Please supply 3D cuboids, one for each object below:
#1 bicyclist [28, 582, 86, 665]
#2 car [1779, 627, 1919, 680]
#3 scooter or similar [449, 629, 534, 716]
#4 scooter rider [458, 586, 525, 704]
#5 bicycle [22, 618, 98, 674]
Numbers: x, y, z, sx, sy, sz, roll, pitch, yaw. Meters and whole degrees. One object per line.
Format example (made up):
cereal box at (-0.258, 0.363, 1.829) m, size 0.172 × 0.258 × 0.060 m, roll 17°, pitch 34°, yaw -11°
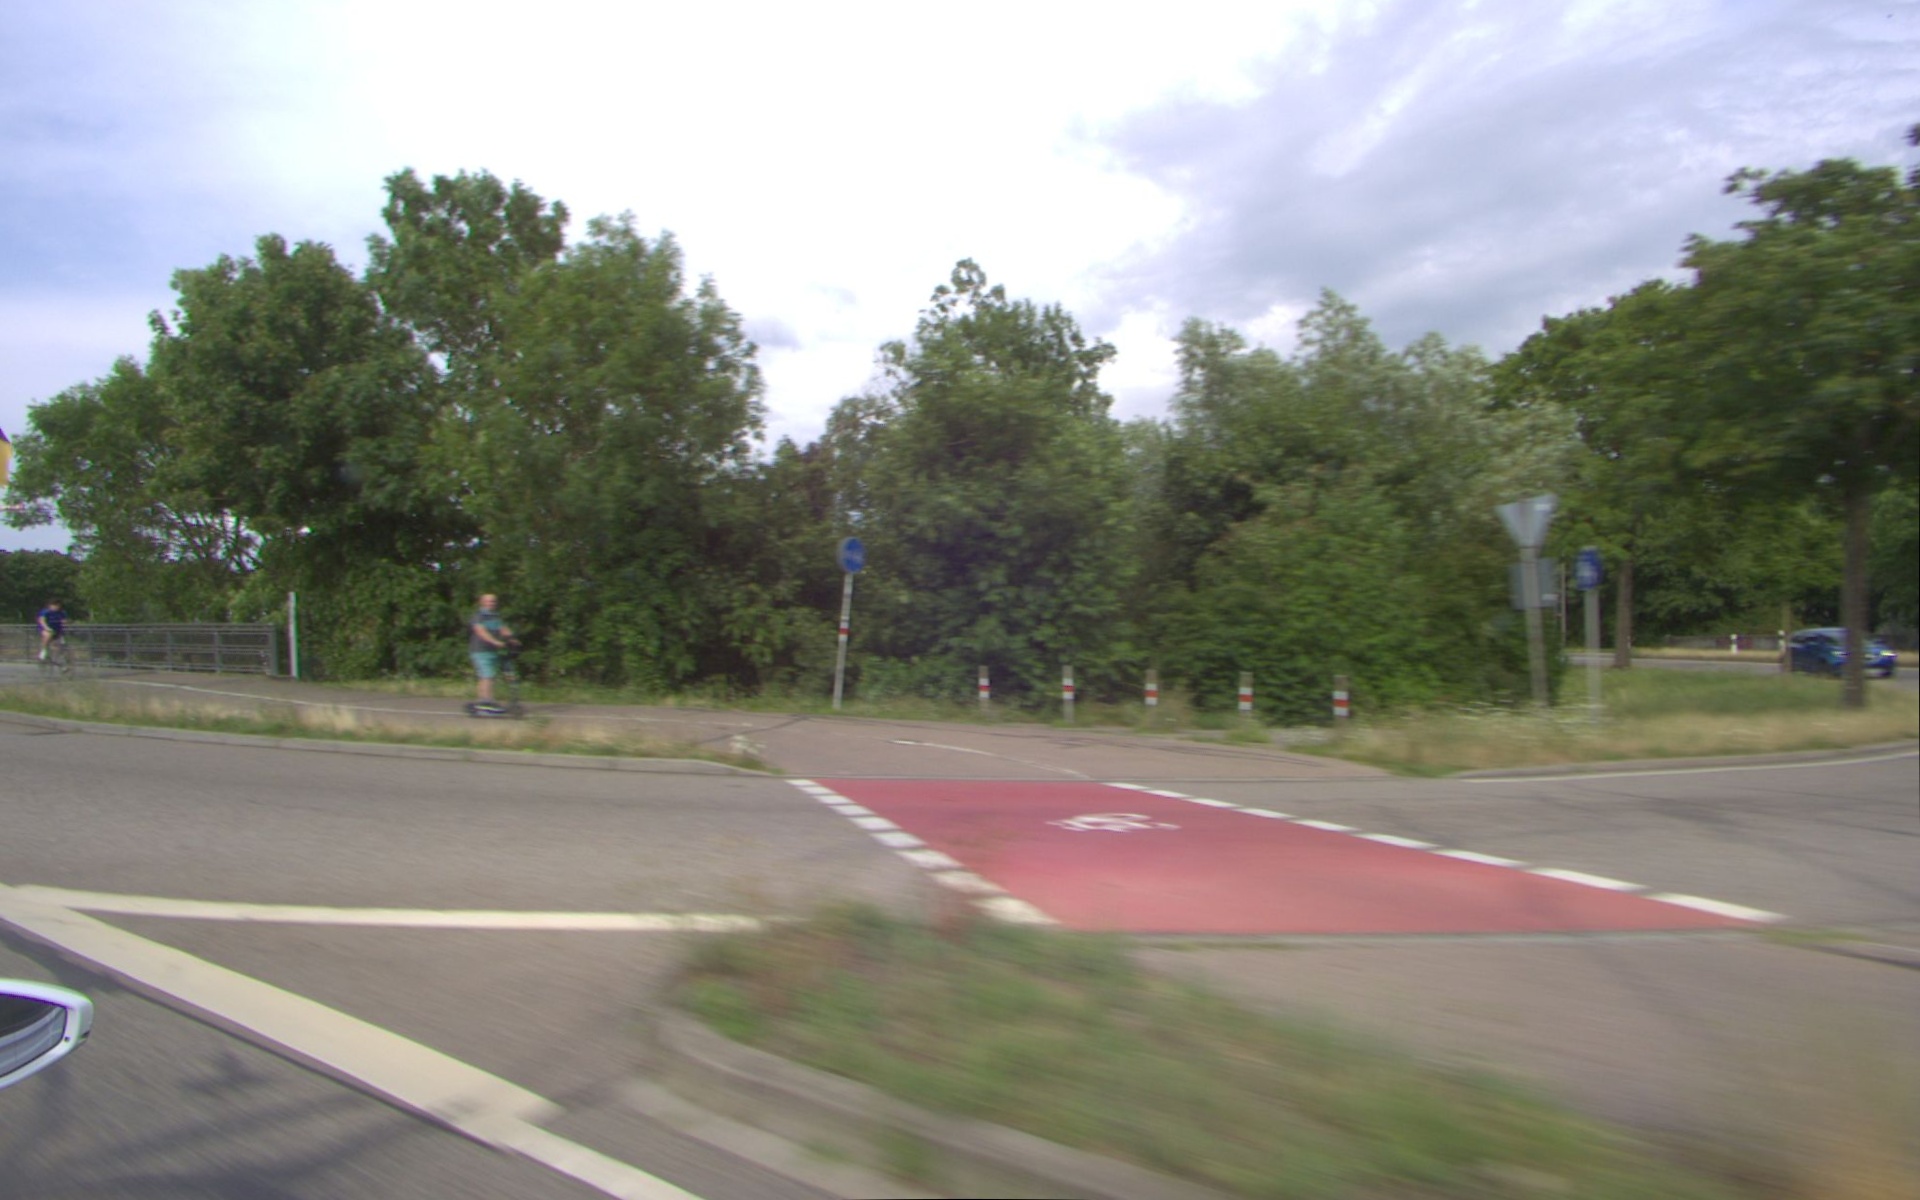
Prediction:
bicyclist at (-18.740, 0.481, 20.787) m, size 0.793 × 1.681 × 0.663 m, roll 1°, pitch 0°, yaw 31°
car at (27.880, 1.631, 31.567) m, size 1.846 × 1.537 × 3.995 m, roll 0°, pitch -2°, yaw 18°
scooter or similar at (-6.969, 1.052, 14.895) m, size 1.185 × 1.240 × 0.587 m, roll -1°, pitch -1°, yaw 32°
scooter rider at (-6.966, 0.660, 14.894) m, size 0.733 × 1.712 × 0.586 m, roll 0°, pitch -1°, yaw 32°
bicycle at (-18.592, 0.931, 20.676) m, size 1.946 × 1.036 × 0.575 m, roll 1°, pitch 3°, yaw 31°
